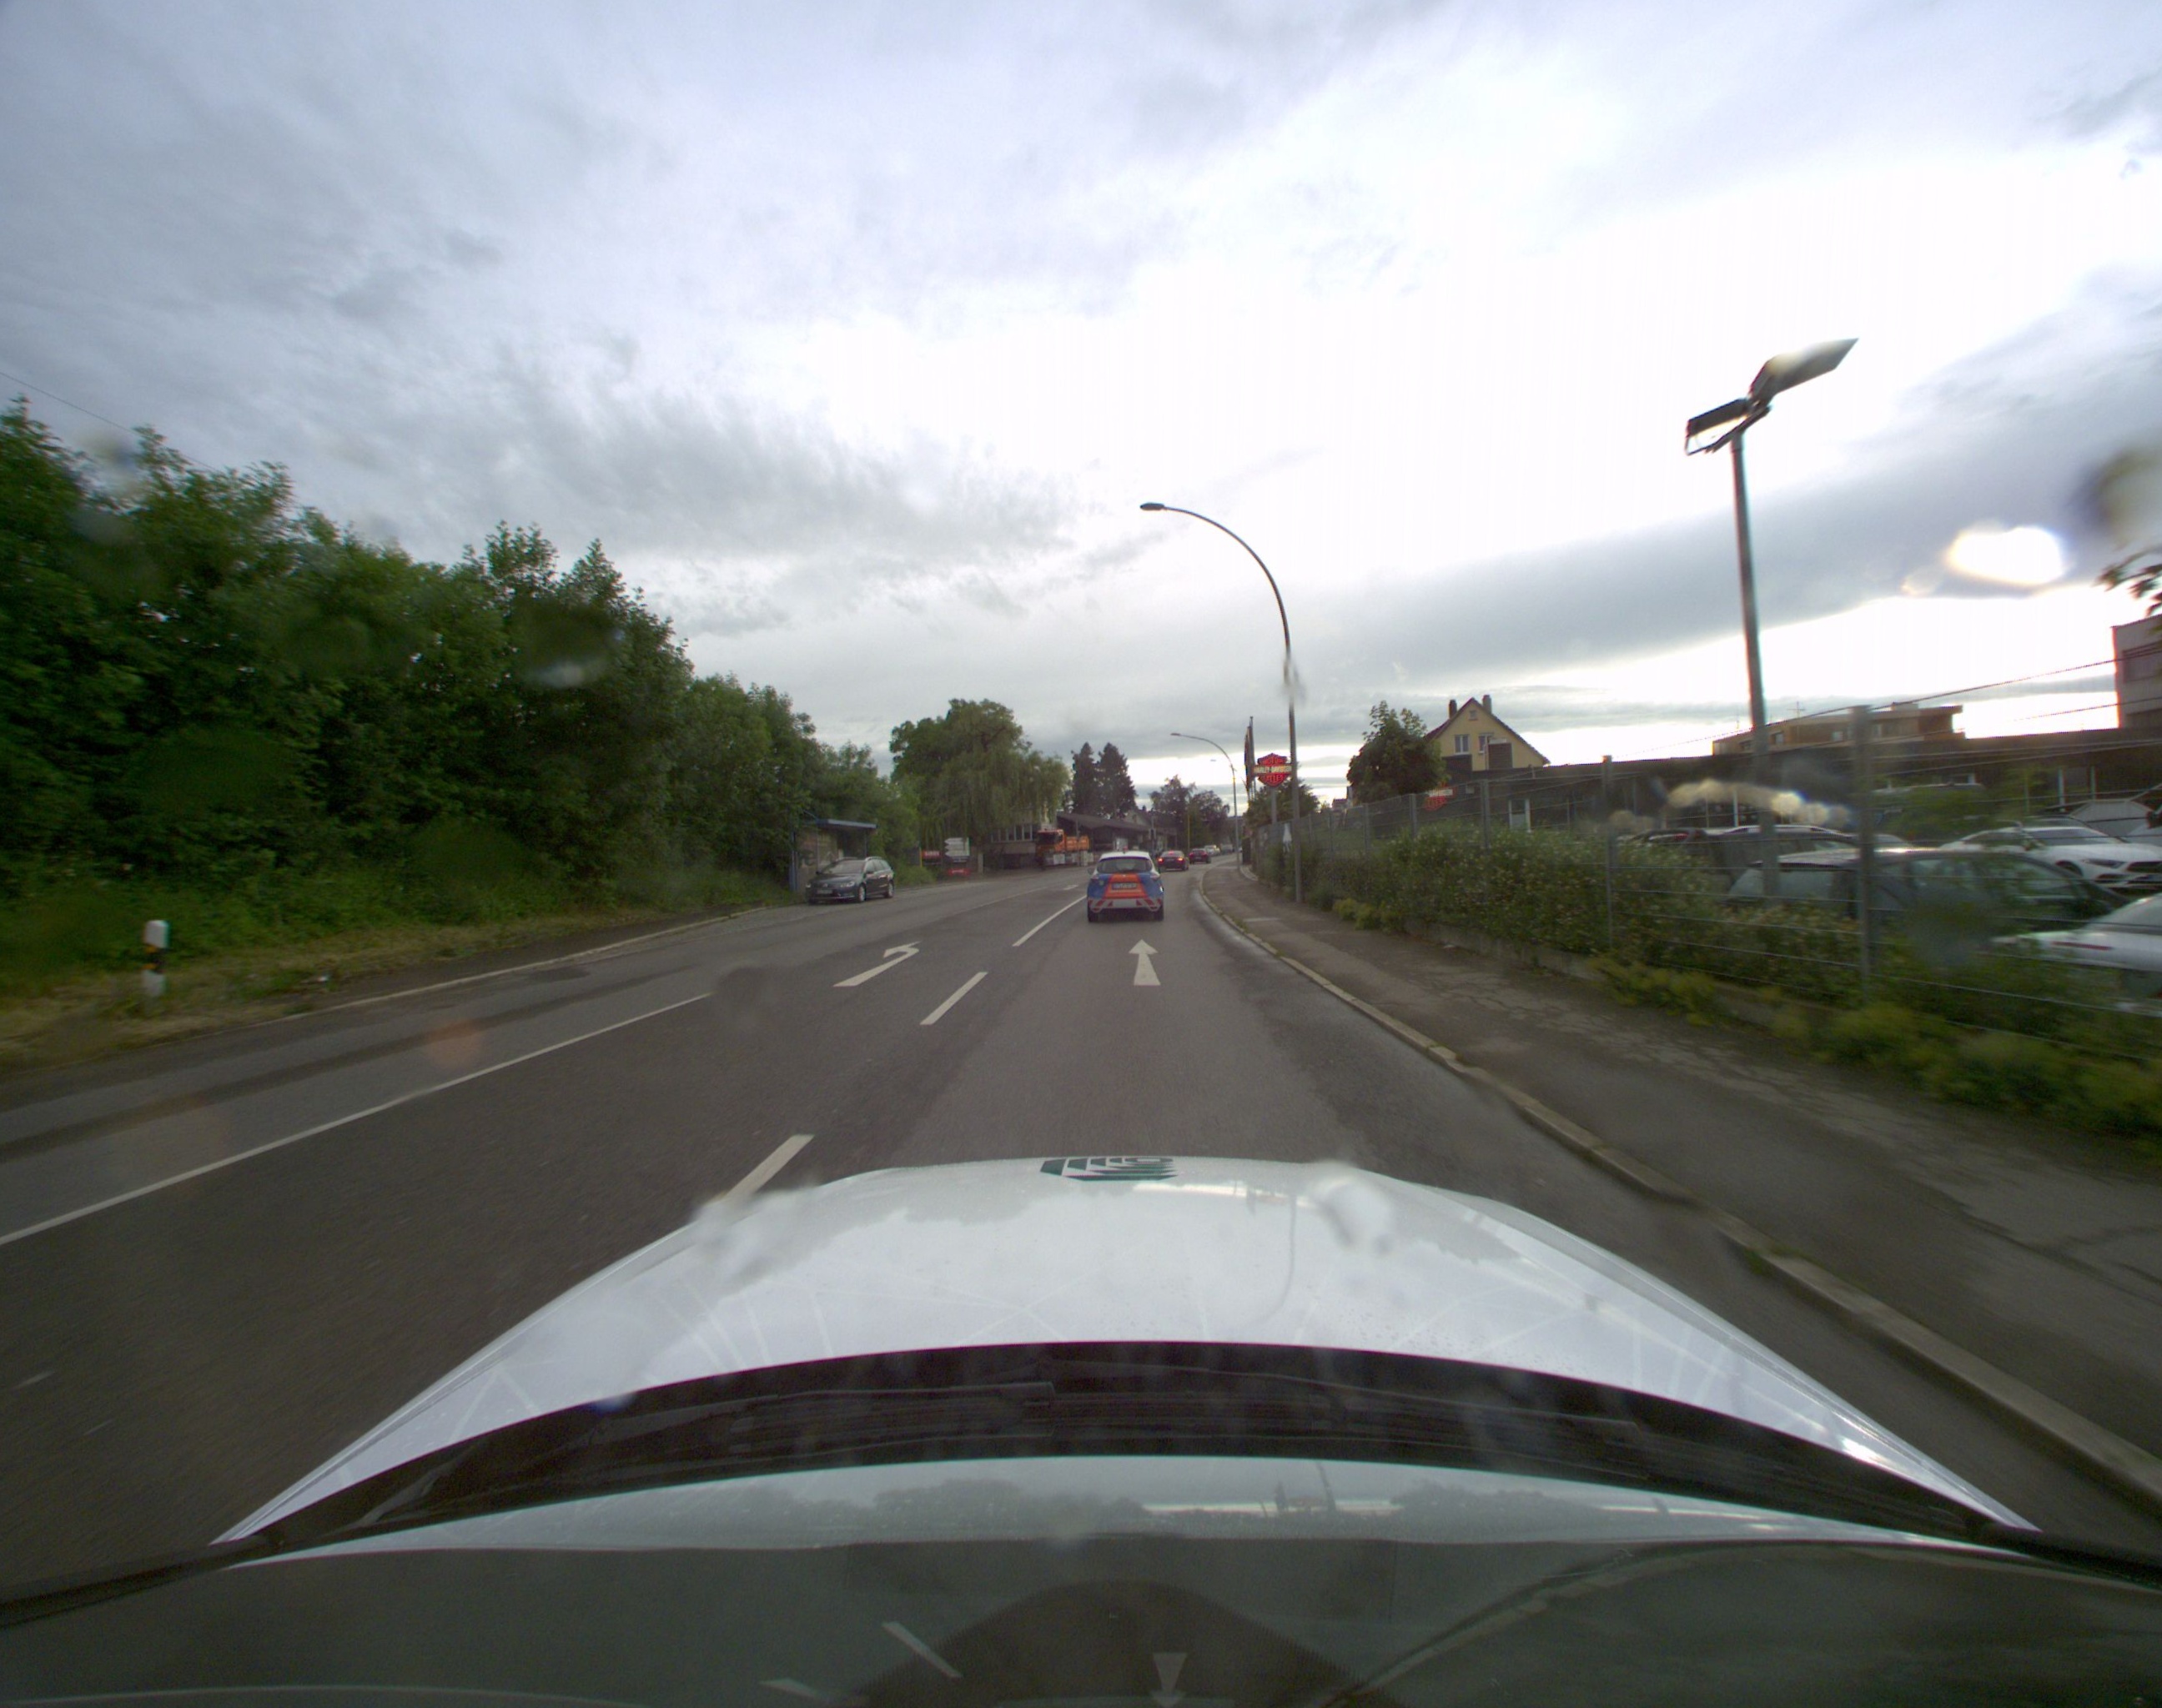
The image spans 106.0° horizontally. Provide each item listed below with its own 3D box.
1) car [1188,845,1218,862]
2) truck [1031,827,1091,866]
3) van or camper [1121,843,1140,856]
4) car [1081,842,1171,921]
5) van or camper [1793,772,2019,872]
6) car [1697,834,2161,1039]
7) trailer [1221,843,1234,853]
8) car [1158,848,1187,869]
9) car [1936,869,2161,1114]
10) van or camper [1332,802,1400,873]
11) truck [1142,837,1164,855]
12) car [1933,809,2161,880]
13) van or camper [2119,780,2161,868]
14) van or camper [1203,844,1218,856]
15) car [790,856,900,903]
[{"bbox_3d":[11.314,-0.030,75.328,1.977,1.420,4.020,0,-1,20],"label":"car"},{"bbox_3d":[-1.755,-0.619,77.285,2.675,3.412,9.114,0,-1,19],"label":"truck"},{"bbox_3d":[7.210,-0.677,117.927,1.979,1.909,4.489,0,0,14],"label":"van or camper"},{"bbox_3d":[1.092,0.583,19.561,1.880,1.632,4.004,-2,0,3],"label":"car"},{"bbox_3d":[24.577,-0.905,24.682,2.314,2.557,5.767,-3,0,17],"label":"van or camper"},{"bbox_3d":[8.651,0.731,7.888,4.126,1.772,1.616,0,-1,1],"label":"car"},{"bbox_3d":[29.348,-1.188,163.366,2.205,2.013,4.453,-2,0,13],"label":"trailer"},{"bbox_3d":[6.165,0.332,55.334,1.714,1.376,3.936,0,-1,2],"label":"car"},{"bbox_3d":[8.616,0.861,5.493,3.889,1.509,1.680,0,-1,1],"label":"car"},{"bbox_3d":[11.714,-0.671,33.853,2.026,2.593,6.616,-3,0,15],"label":"van or camper"},{"bbox_3d":[11.504,-1.237,129.876,2.376,2.927,5.982,0,0,16],"label":"truck"},{"bbox_3d":[22.217,-0.143,18.432,1.878,1.420,4.480,0,-1,12],"label":"car"},{"bbox_3d":[24.231,-0.705,16.056,1.977,1.938,5.456,0,-1,19],"label":"van or camper"},{"bbox_3d":[21.839,-0.684,137.181,1.876,2.013,5.119,-2,0,16],"label":"van or camper"},{"bbox_3d":[-7.860,0.843,27.686,1.984,1.474,4.706,0,-1,5],"label":"car"}]
